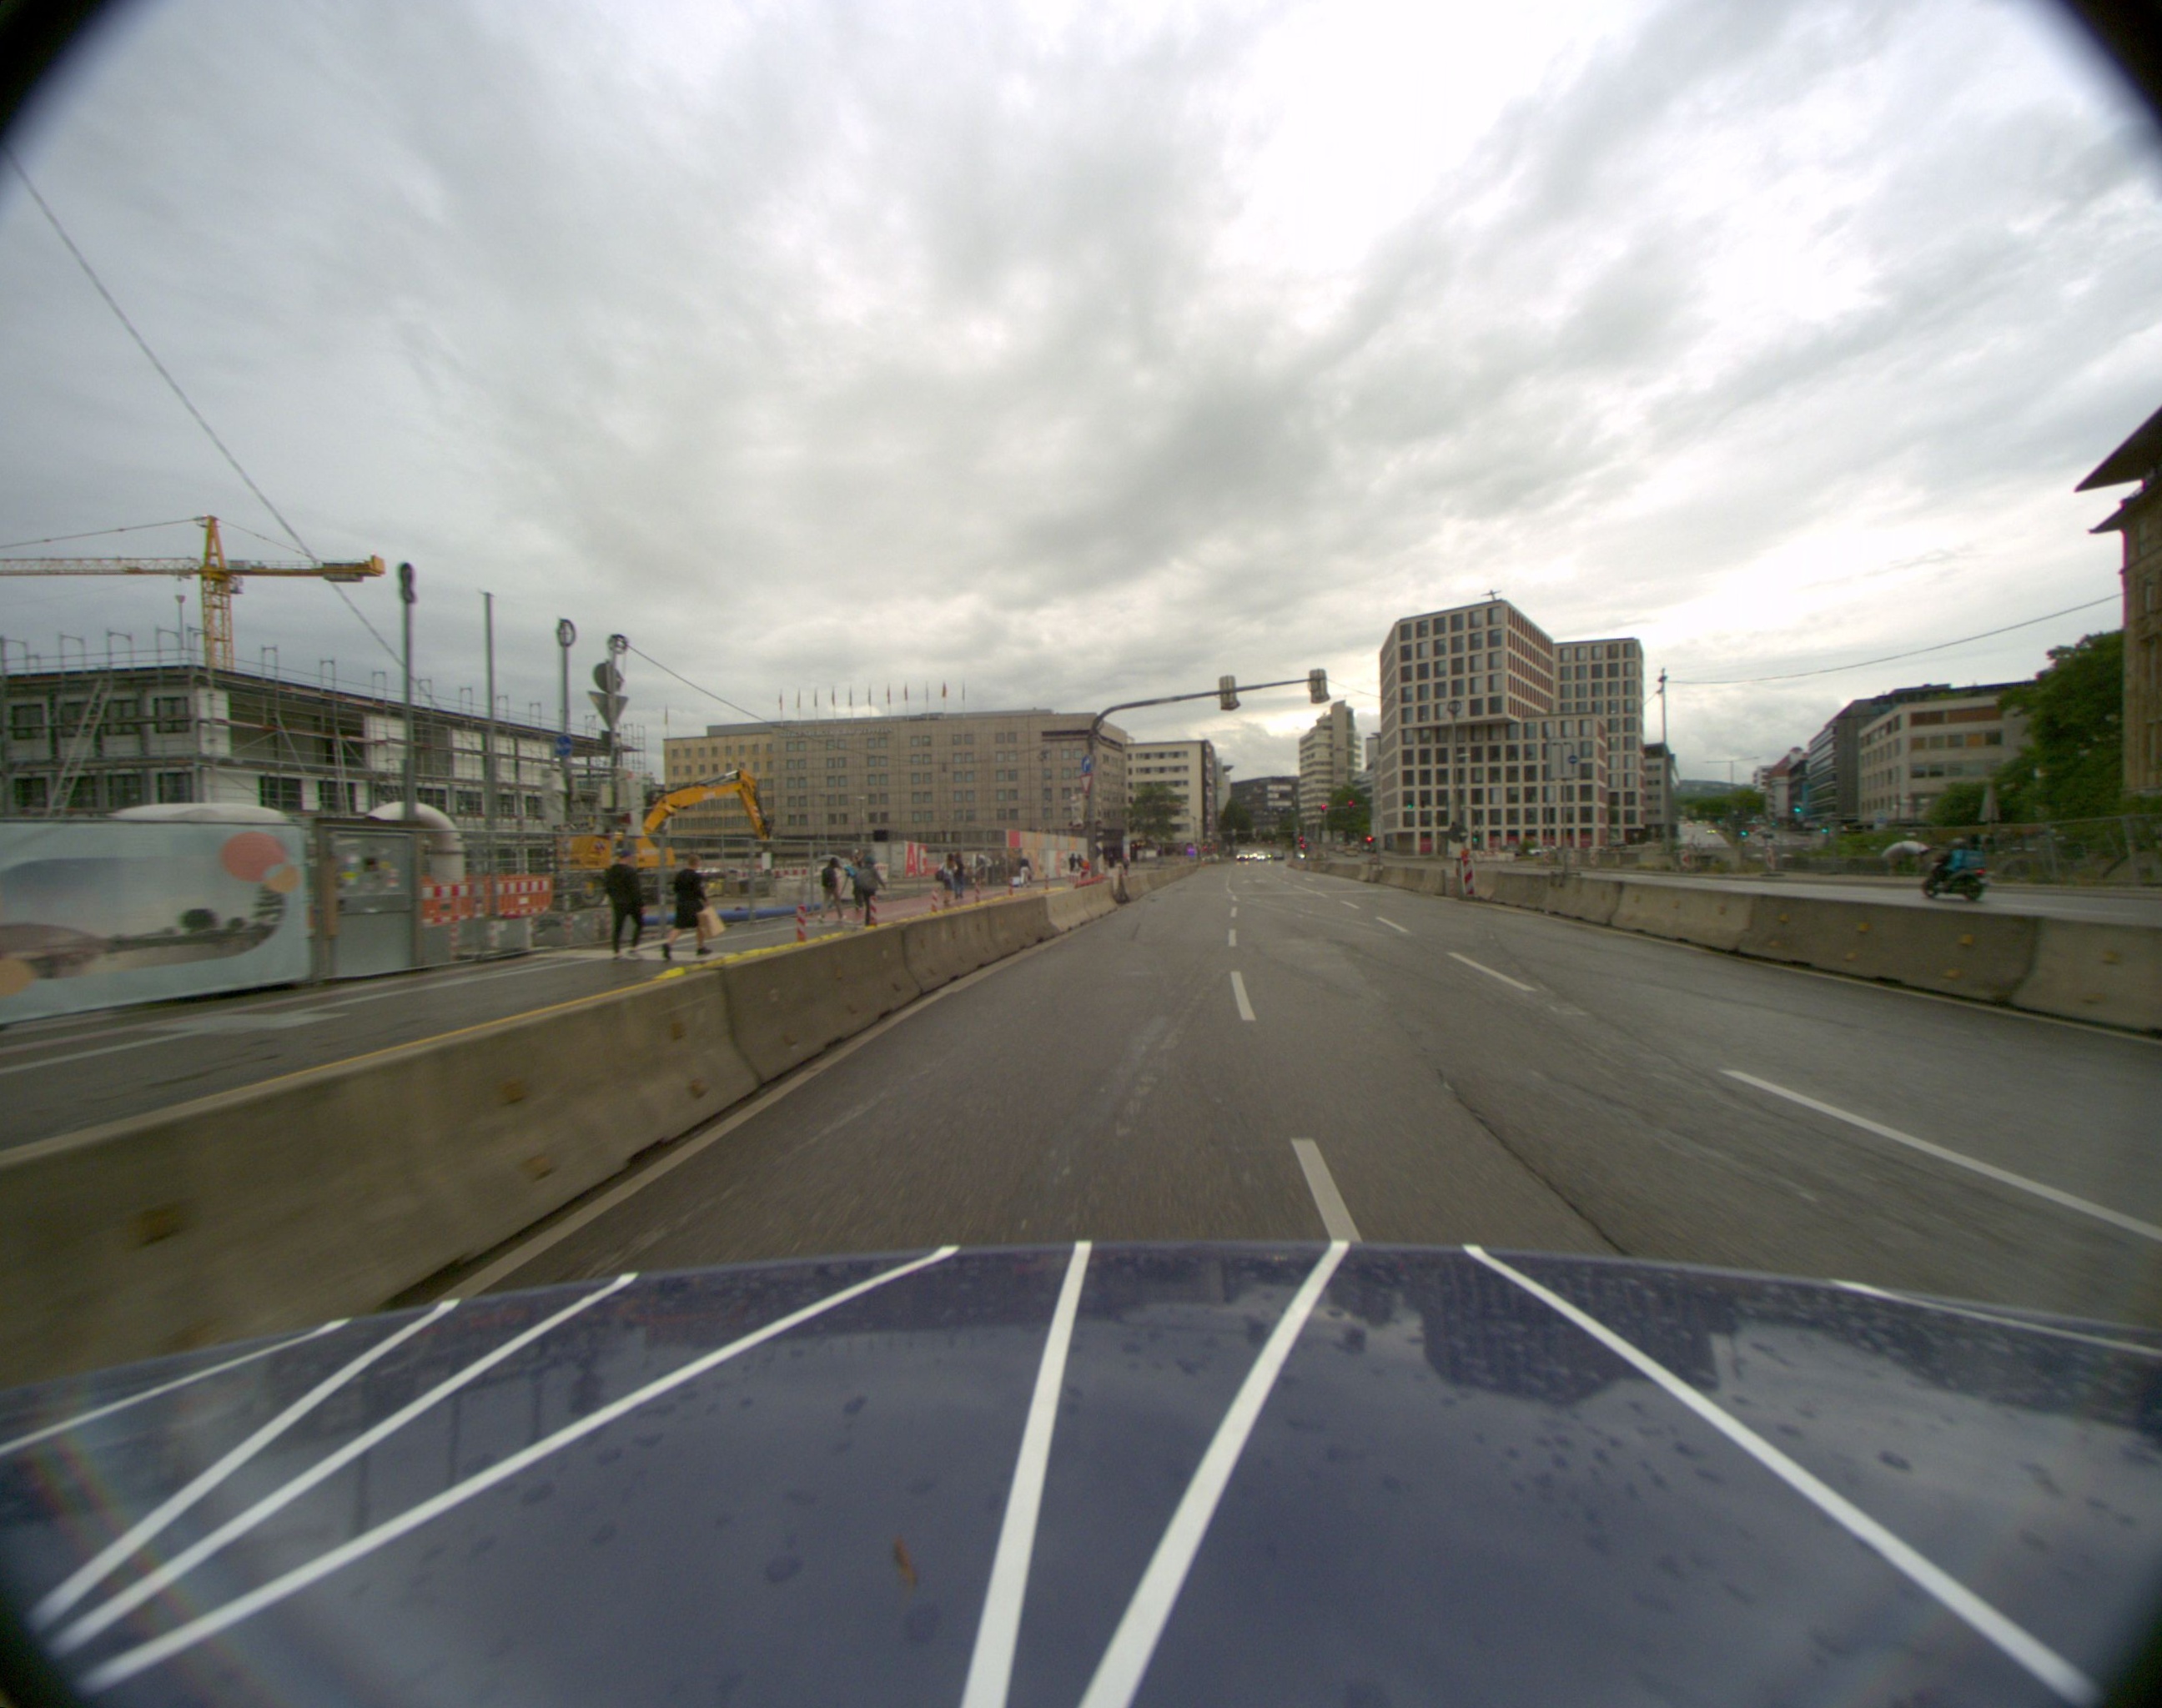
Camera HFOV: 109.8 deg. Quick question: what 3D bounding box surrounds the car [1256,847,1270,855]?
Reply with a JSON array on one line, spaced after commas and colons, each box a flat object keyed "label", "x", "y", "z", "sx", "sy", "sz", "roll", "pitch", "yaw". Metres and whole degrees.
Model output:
[{"label": "car", "x": 32.862, "y": -0.584, "z": 137.384, "sx": 1.997, "sy": 1.445, "sz": 4.002, "roll": -1, "pitch": 1, "yaw": 9}]

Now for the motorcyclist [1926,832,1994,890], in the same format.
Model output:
[{"label": "motorcyclist", "x": 23.262, "y": 0.182, "z": 20.127, "sx": 0.703, "sy": 1.478, "sz": 0.963, "roll": -1, "pitch": 1, "yaw": 8}]

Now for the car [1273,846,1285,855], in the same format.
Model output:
[{"label": "car", "x": 35.467, "y": -0.645, "z": 136.412, "sx": 1.707, "sy": 1.445, "sz": 3.797, "roll": -1, "pitch": 1, "yaw": 9}]

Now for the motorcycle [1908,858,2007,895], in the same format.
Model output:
[{"label": "motorcycle", "x": 23.286, "y": 0.572, "z": 20.235, "sx": 0.703, "sy": 0.887, "sz": 1.824, "roll": -1, "pitch": 1, "yaw": 8}]

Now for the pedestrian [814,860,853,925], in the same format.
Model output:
[{"label": "pedestrian", "x": -6.152, "y": 0.949, "z": 18.927, "sx": 0.669, "sy": 1.572, "sz": 0.902, "roll": 0, "pitch": 1, "yaw": 0}]

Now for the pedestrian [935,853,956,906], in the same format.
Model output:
[{"label": "pedestrian", "x": -4.411, "y": 0.820, "z": 24.839, "sx": 0.586, "sy": 1.698, "sz": 0.677, "roll": 0, "pitch": 1, "yaw": -2}]

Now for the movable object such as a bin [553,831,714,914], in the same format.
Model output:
[{"label": "movable object such as a bin", "x": -14.784, "y": 0.528, "z": 25.253, "sx": 1.994, "sy": 2.521, "sz": 4.137, "roll": -1, "pitch": 1, "yaw": 42}]

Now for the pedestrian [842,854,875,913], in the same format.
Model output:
[{"label": "pedestrian", "x": -6.611, "y": 0.865, "z": 22.589, "sx": 0.746, "sy": 1.696, "sz": 0.687, "roll": 0, "pitch": 1, "yaw": 1}]

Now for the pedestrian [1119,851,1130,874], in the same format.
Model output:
[{"label": "pedestrian", "x": 3.314, "y": 0.635, "z": 57.691, "sx": 0.757, "sy": 1.751, "sz": 0.765, "roll": 0, "pitch": 1, "yaw": -2}]

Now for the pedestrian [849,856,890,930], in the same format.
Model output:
[{"label": "pedestrian", "x": -4.948, "y": 0.888, "z": 17.808, "sx": 0.654, "sy": 1.681, "sz": 0.776, "roll": 0, "pitch": 1, "yaw": 11}]

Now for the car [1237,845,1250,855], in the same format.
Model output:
[{"label": "car", "x": 29.714, "y": -0.694, "z": 139.153, "sx": 1.997, "sy": 1.814, "sz": 4.002, "roll": -1, "pitch": 1, "yaw": 9}]

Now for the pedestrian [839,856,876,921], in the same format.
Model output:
[{"label": "pedestrian", "x": -5.922, "y": 0.887, "z": 20.201, "sx": 0.654, "sy": 1.681, "sz": 0.776, "roll": 0, "pitch": 1, "yaw": 11}]

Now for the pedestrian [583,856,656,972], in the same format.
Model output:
[{"label": "pedestrian", "x": -7.122, "y": 0.901, "z": 11.759, "sx": 0.648, "sy": 1.733, "sz": 0.766, "roll": 0, "pitch": 1, "yaw": 0}]

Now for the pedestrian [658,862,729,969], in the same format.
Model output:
[{"label": "pedestrian", "x": -6.248, "y": 0.965, "z": 12.286, "sx": 0.648, "sy": 1.637, "sz": 0.947, "roll": 0, "pitch": 1, "yaw": 0}]

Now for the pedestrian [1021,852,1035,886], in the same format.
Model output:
[{"label": "pedestrian", "x": -2.632, "y": 0.743, "z": 37.839, "sx": 0.649, "sy": 1.660, "sz": 0.765, "roll": 0, "pitch": 1, "yaw": -2}]

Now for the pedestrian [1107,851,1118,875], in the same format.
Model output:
[{"label": "pedestrian", "x": 2.352, "y": 0.673, "z": 56.473, "sx": 0.757, "sy": 1.751, "sz": 0.765, "roll": 0, "pitch": 1, "yaw": -2}]

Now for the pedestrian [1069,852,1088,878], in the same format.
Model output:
[{"label": "pedestrian", "x": -0.189, "y": 0.752, "z": 52.462, "sx": 1.098, "sy": 1.751, "sz": 0.907, "roll": 0, "pitch": 1, "yaw": 14}]

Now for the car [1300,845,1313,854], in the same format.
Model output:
[{"label": "car", "x": 40.348, "y": -0.776, "z": 136.031, "sx": 1.790, "sy": 1.445, "sz": 3.674, "roll": -1, "pitch": 1, "yaw": 9}]

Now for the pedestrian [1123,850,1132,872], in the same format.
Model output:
[{"label": "pedestrian", "x": 3.857, "y": 0.576, "z": 63.344, "sx": 0.653, "sy": 1.751, "sz": 0.548, "roll": 0, "pitch": 1, "yaw": -2}]

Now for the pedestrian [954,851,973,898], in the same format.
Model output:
[{"label": "pedestrian", "x": -4.380, "y": 0.759, "z": 28.317, "sx": 0.649, "sy": 1.751, "sz": 0.583, "roll": 0, "pitch": 1, "yaw": -2}]
